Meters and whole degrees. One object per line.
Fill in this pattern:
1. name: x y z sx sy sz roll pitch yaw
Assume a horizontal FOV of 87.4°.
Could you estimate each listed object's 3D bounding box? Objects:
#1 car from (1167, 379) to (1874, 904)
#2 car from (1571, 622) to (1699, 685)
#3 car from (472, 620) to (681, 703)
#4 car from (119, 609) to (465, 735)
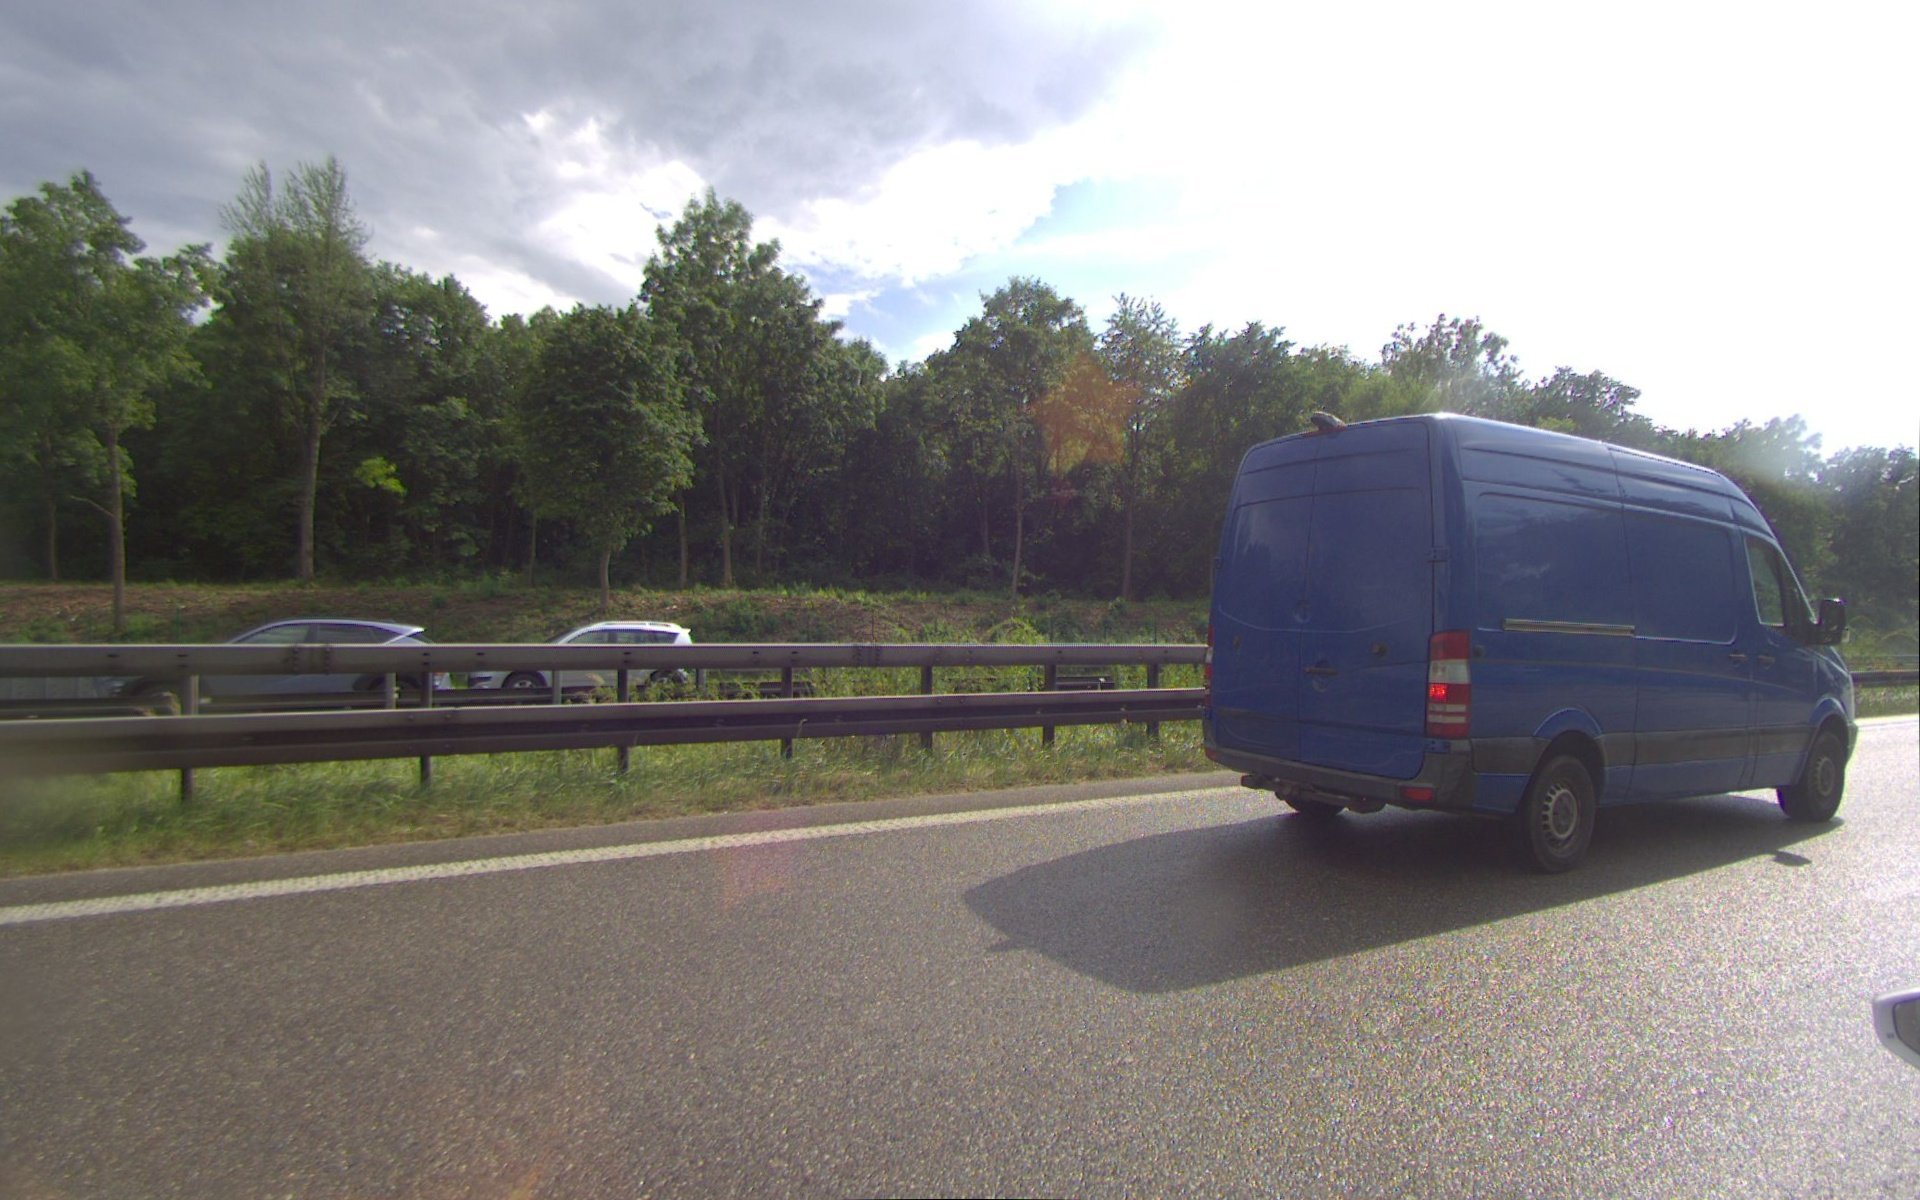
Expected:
1. car: 4.392 0.278 7.482 5.710 2.684 2.005 2 0 -31
2. car: 22.497 1.747 33.458 4.238 1.936 1.915 1 -1 -30
3. car: -7.731 1.195 20.307 3.741 1.502 1.623 1 -1 -30
4. car: -9.518 0.978 14.694 3.954 1.601 1.912 1 -2 -31
